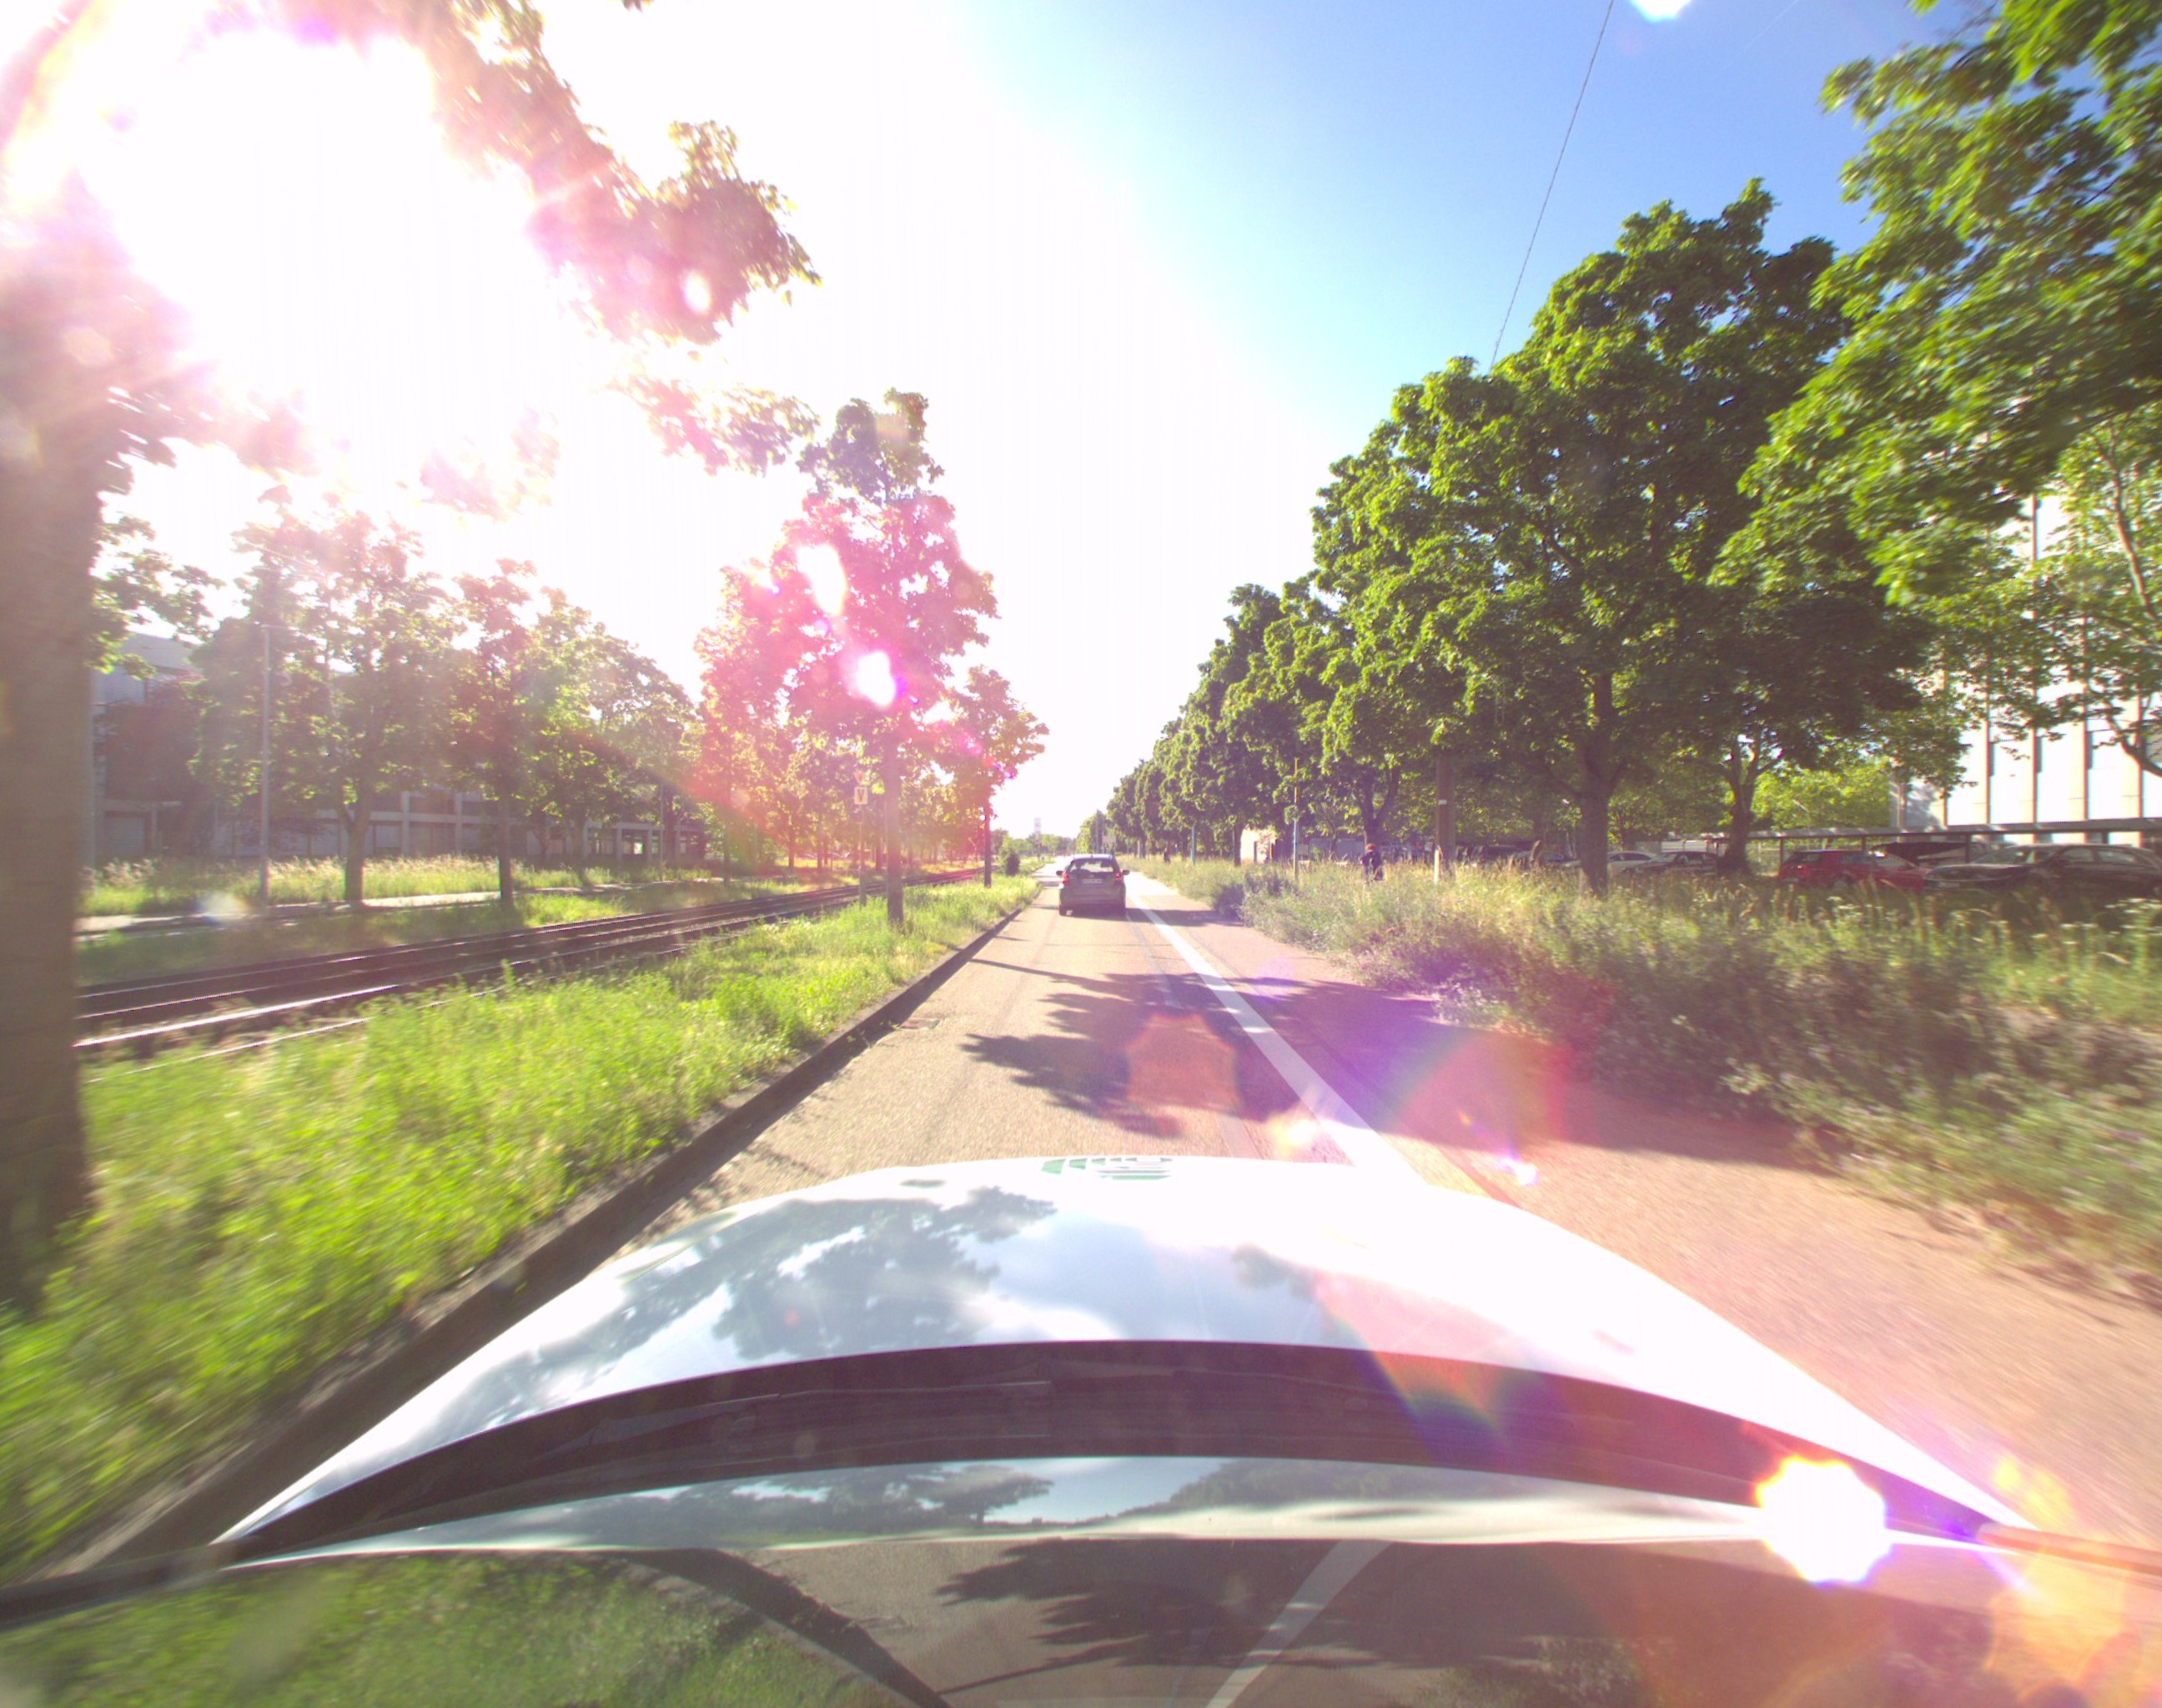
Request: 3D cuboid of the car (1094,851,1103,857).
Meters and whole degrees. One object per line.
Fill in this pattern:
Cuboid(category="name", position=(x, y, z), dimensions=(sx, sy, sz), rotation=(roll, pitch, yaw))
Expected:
Cuboid(category="car", position=(4.249, -0.065, 196.397), dimensions=(1.771, 1.386, 3.862), rotation=(-1, 0, -6))

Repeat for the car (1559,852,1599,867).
Cuboid(category="car", position=(61.943, 0.681, 101.355), dimensions=(3.985, 1.828, 1.868), rotation=(0, 0, -9))

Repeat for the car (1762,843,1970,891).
Cuboid(category="car", position=(23.529, 0.363, 24.567), dimensions=(4.271, 1.324, 1.943), rotation=(-1, 1, 5))

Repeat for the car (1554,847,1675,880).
Cuboid(category="car", position=(23.524, 0.403, 36.032), dimensions=(4.146, 1.432, 1.826), rotation=(0, 0, 4))

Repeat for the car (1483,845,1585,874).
Cuboid(category="car", position=(23.481, 0.290, 42.347), dimensions=(4.337, 1.459, 1.691), rotation=(0, 0, 4))

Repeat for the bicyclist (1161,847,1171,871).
Cuboid(category="bicyclist", position=(6.176, 0.382, 59.279), dimensions=(0.680, 1.720, 0.903), rotation=(0, -1, 2))

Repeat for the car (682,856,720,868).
Cuboid(category="car", position=(-52.779, 1.145, 113.151), dimensions=(4.449, 1.640, 1.969), rotation=(0, 0, -35))

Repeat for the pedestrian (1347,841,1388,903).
Cuboid(category="pedestrian", position=(7.480, 0.459, 21.274), dimensions=(0.821, 1.569, 0.762), rotation=(0, 0, 2))

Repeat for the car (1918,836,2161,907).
Cuboid(category="car", position=(23.016, 0.392, 19.401), dimensions=(4.381, 1.596, 1.882), rotation=(0, 0, -3))

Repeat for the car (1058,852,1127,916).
Cuboid(category="car", position=(0.264, 0.717, 21.324), dimensions=(1.619, 1.499, 3.455), rotation=(-1, 0, -1))

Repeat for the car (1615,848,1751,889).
Cuboid(category="car", position=(22.844, 0.532, 30.988), dimensions=(3.984, 1.525, 1.705), rotation=(0, 0, -3))

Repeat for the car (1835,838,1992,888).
Cuboid(category="car", position=(35.020, 0.383, 34.349), dimensions=(4.567, 2.013, 1.959), rotation=(0, 0, 2))

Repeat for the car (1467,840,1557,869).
Cuboid(category="car", position=(23.525, 0.032, 44.580), dimensions=(4.015, 1.505, 1.739), rotation=(0, 0, 1))

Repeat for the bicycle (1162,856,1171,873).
Cuboid(category="bicycle", position=(6.187, 0.753, 59.276), dimensions=(0.481, 1.204, 2.144), rotation=(0, -2, 1))
